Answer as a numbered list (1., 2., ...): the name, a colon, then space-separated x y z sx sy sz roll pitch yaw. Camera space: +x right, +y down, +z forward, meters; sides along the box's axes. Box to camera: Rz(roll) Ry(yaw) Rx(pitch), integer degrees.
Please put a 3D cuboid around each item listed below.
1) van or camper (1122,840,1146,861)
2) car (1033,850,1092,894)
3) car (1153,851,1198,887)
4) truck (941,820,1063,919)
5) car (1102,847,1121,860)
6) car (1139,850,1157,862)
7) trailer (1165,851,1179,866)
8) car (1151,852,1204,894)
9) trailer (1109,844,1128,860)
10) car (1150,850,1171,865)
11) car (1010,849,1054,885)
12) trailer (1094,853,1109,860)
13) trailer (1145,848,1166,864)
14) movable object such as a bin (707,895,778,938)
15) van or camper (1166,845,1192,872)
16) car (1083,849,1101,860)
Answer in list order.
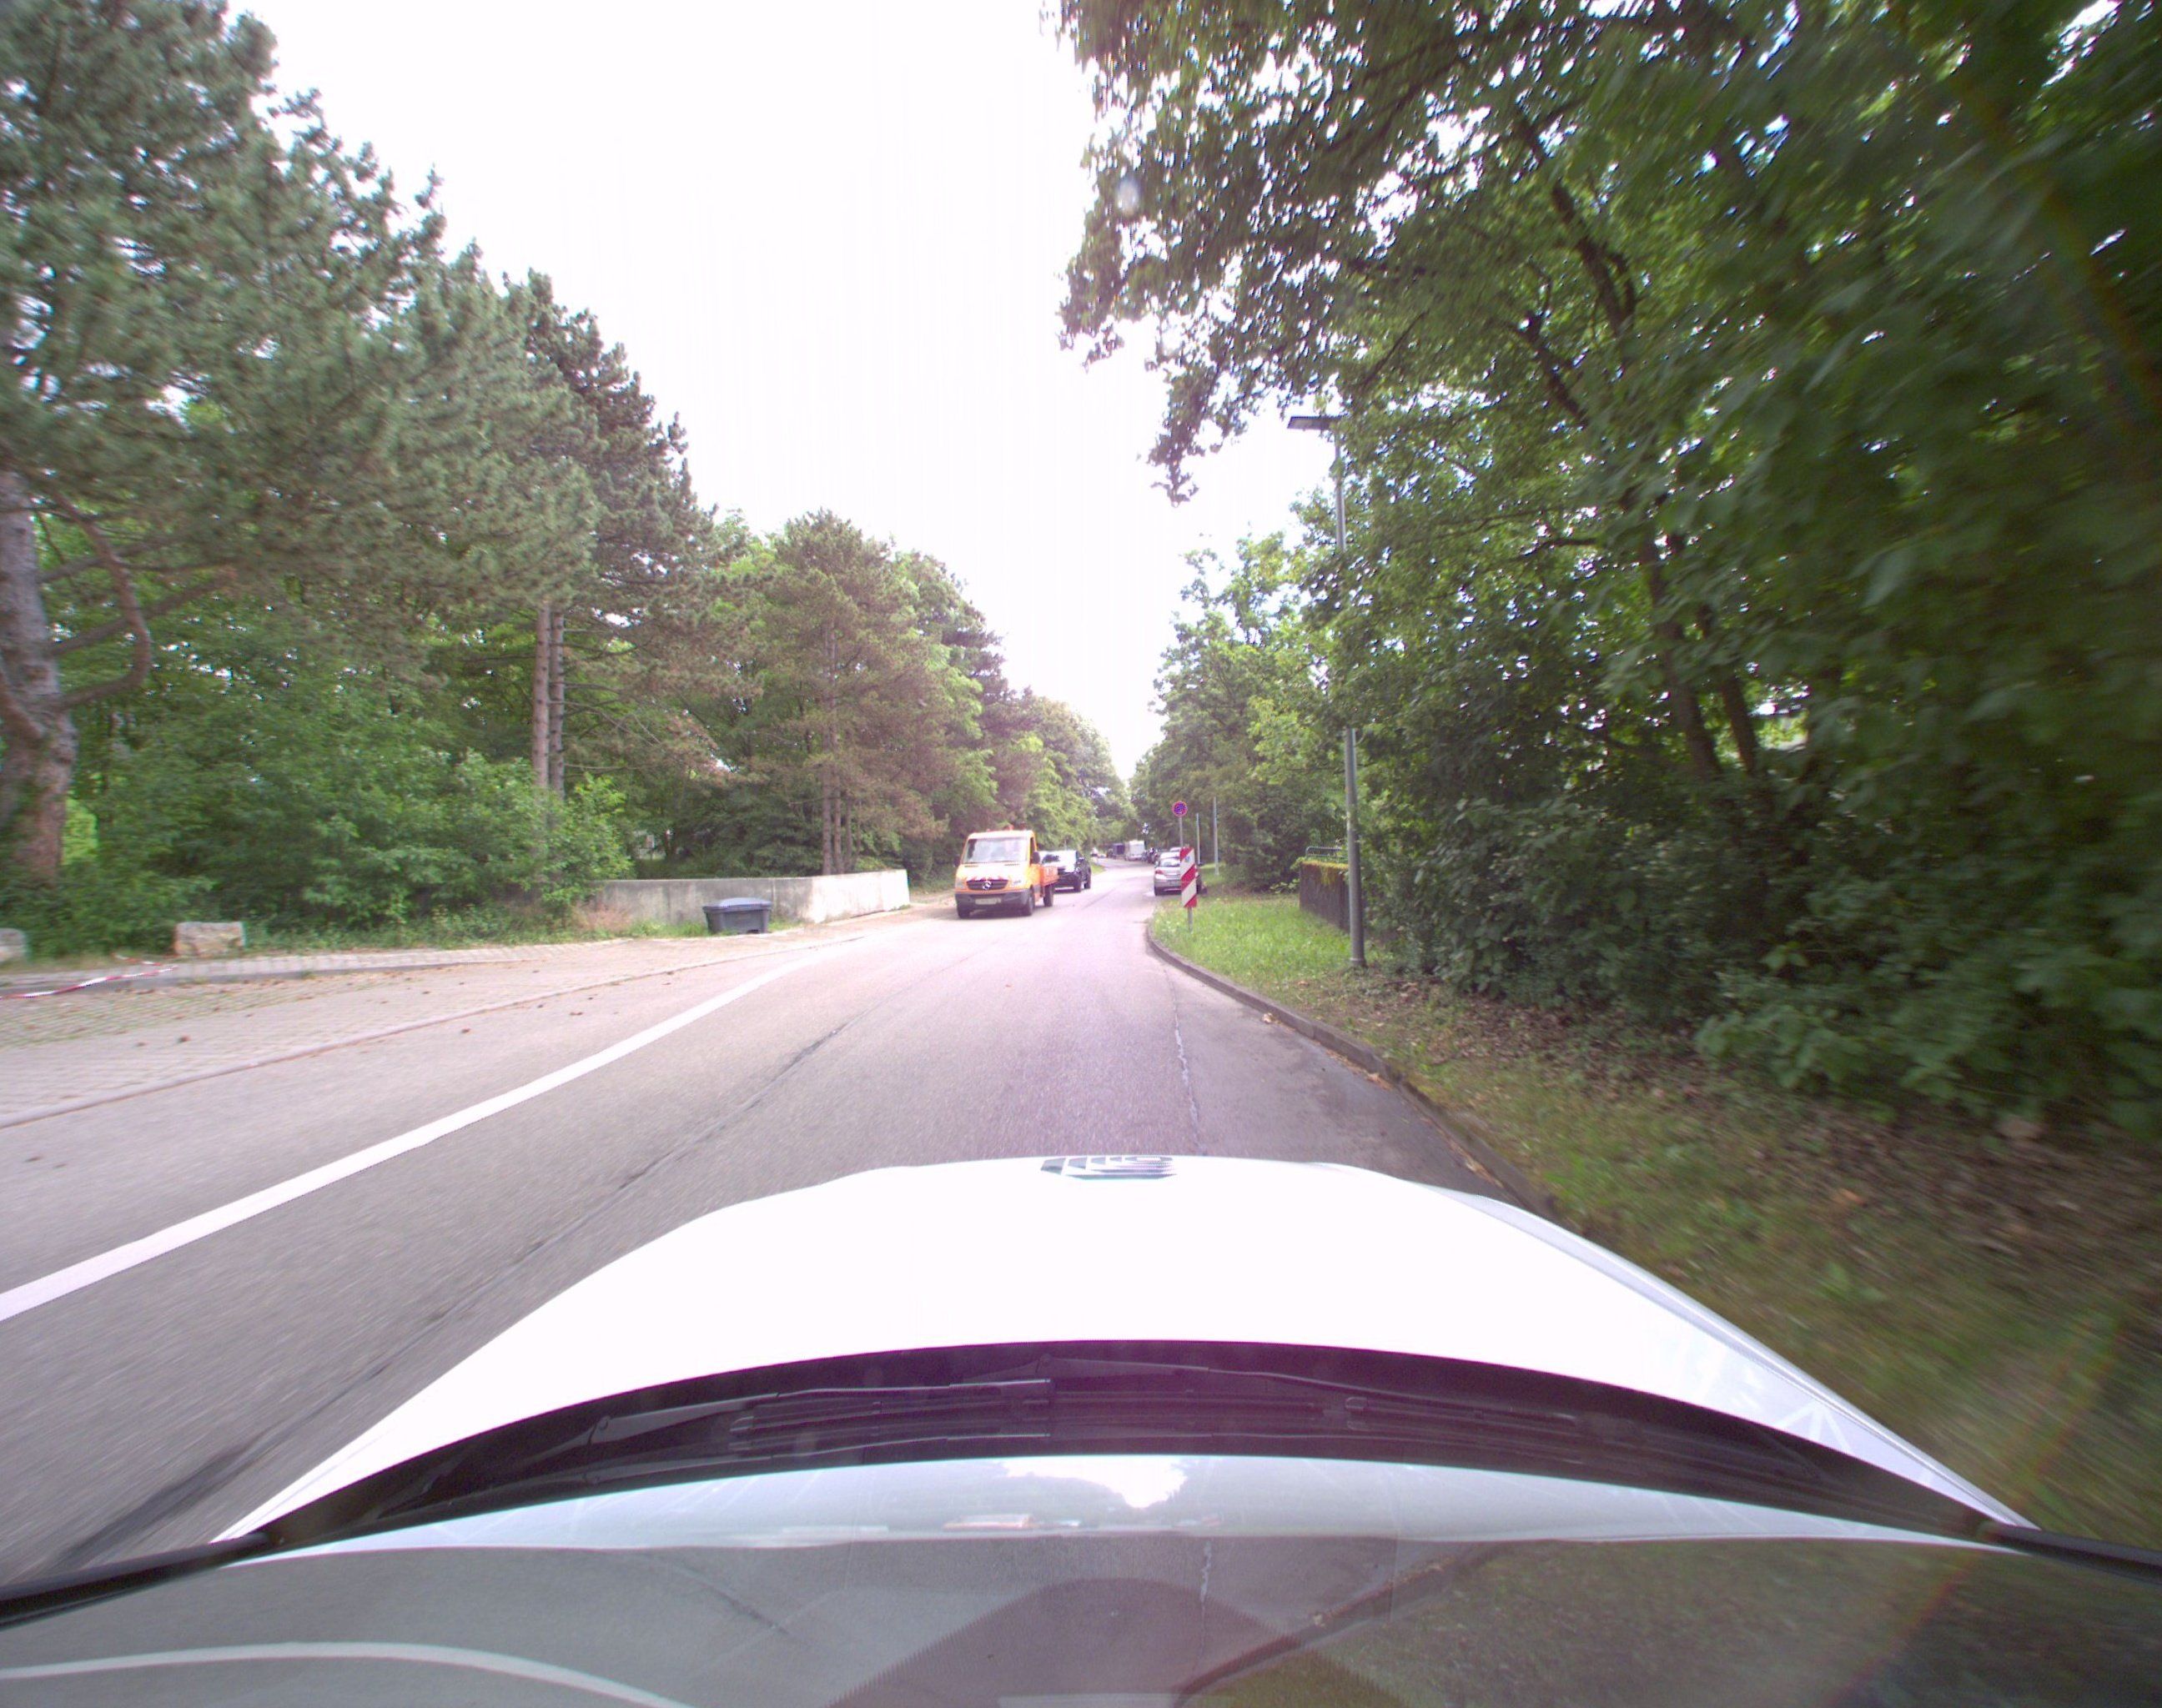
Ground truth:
1. van or camper: 7.852 -0.468 121.678 2.479 2.876 6.875 -3 0 -6
2. car: -0.732 0.750 36.315 1.984 1.735 5.344 -2 0 5
3. car: 4.405 0.638 38.048 1.876 1.507 5.185 -3 0 6
4. truck: -2.056 0.368 23.399 2.311 2.470 6.030 0 0 6
5. car: 5.185 -0.100 137.737 1.997 2.025 3.981 -6 2 -14
6. car: 9.155 0.266 111.232 1.796 1.562 3.830 -3 1 -4
7. trailer: 9.973 0.441 89.227 1.274 1.585 2.461 -2 0 2
8. car: 3.652 0.671 30.629 1.783 1.411 4.068 -3 0 8
9. trailer: 6.111 -0.350 132.320 1.996 2.398 3.981 -3 0 -13
10. car: 9.292 0.437 95.696 1.788 1.670 4.497 -3 -1 -3
11. car: -2.775 0.727 46.732 1.711 1.921 4.114 -1 1 8
12. trailer: 3.572 0.377 141.556 1.653 1.086 3.985 -5 1 -11
13. trailer: 9.320 0.285 101.860 1.973 1.811 5.146 -3 1 -1
14. movable object such as a bin: -6.690 1.208 16.086 1.151 0.760 1.039 1 -2 -31
15. van or camper: 7.121 0.347 59.445 1.793 1.838 4.327 -2 -2 6
16. car: 1.957 0.141 150.713 2.041 1.803 4.057 -3 1 -19
